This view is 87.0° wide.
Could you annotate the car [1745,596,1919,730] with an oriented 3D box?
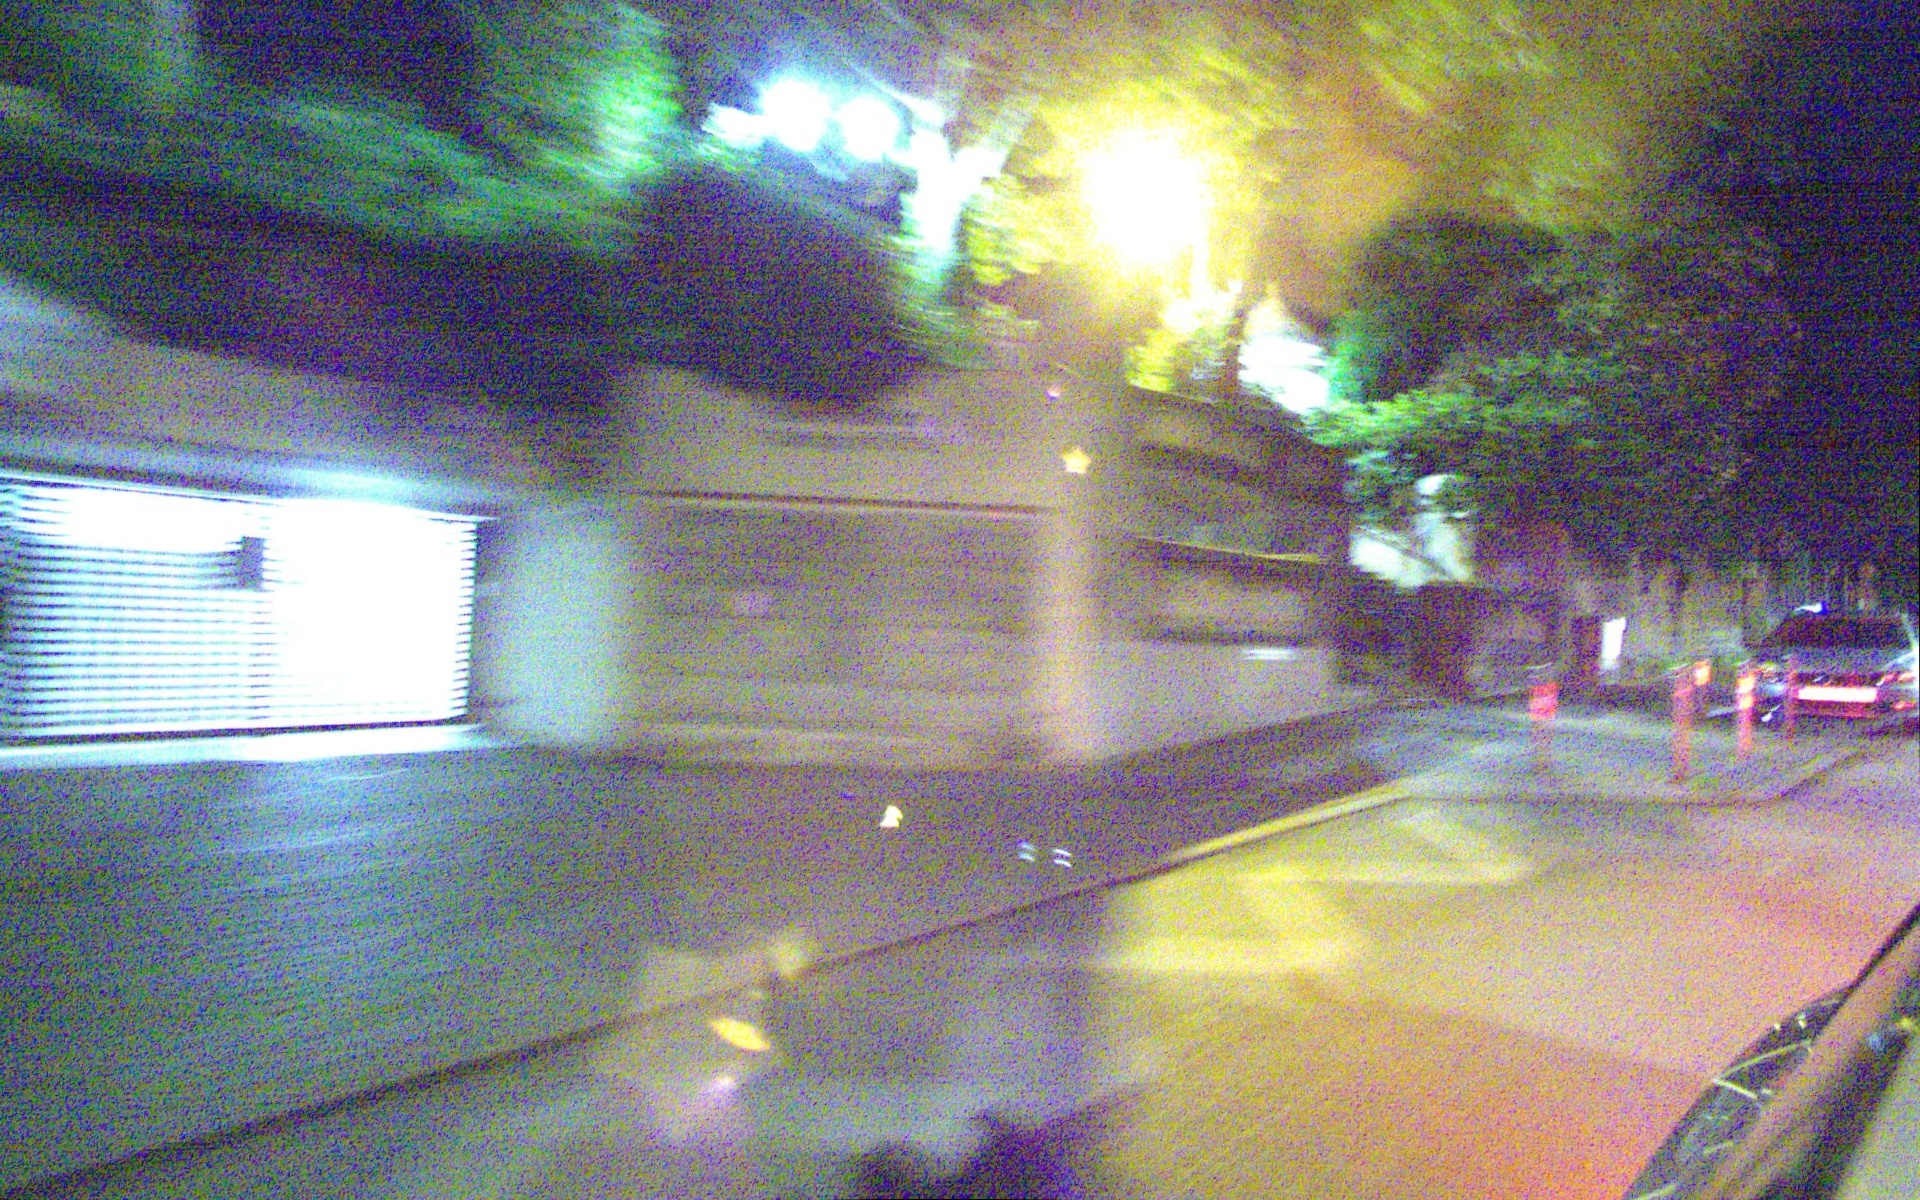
[{"bbox_3d":[11.738,0.728,13.234,4.205,1.495,1.764,1,-2,-45],"label":"car"}]
